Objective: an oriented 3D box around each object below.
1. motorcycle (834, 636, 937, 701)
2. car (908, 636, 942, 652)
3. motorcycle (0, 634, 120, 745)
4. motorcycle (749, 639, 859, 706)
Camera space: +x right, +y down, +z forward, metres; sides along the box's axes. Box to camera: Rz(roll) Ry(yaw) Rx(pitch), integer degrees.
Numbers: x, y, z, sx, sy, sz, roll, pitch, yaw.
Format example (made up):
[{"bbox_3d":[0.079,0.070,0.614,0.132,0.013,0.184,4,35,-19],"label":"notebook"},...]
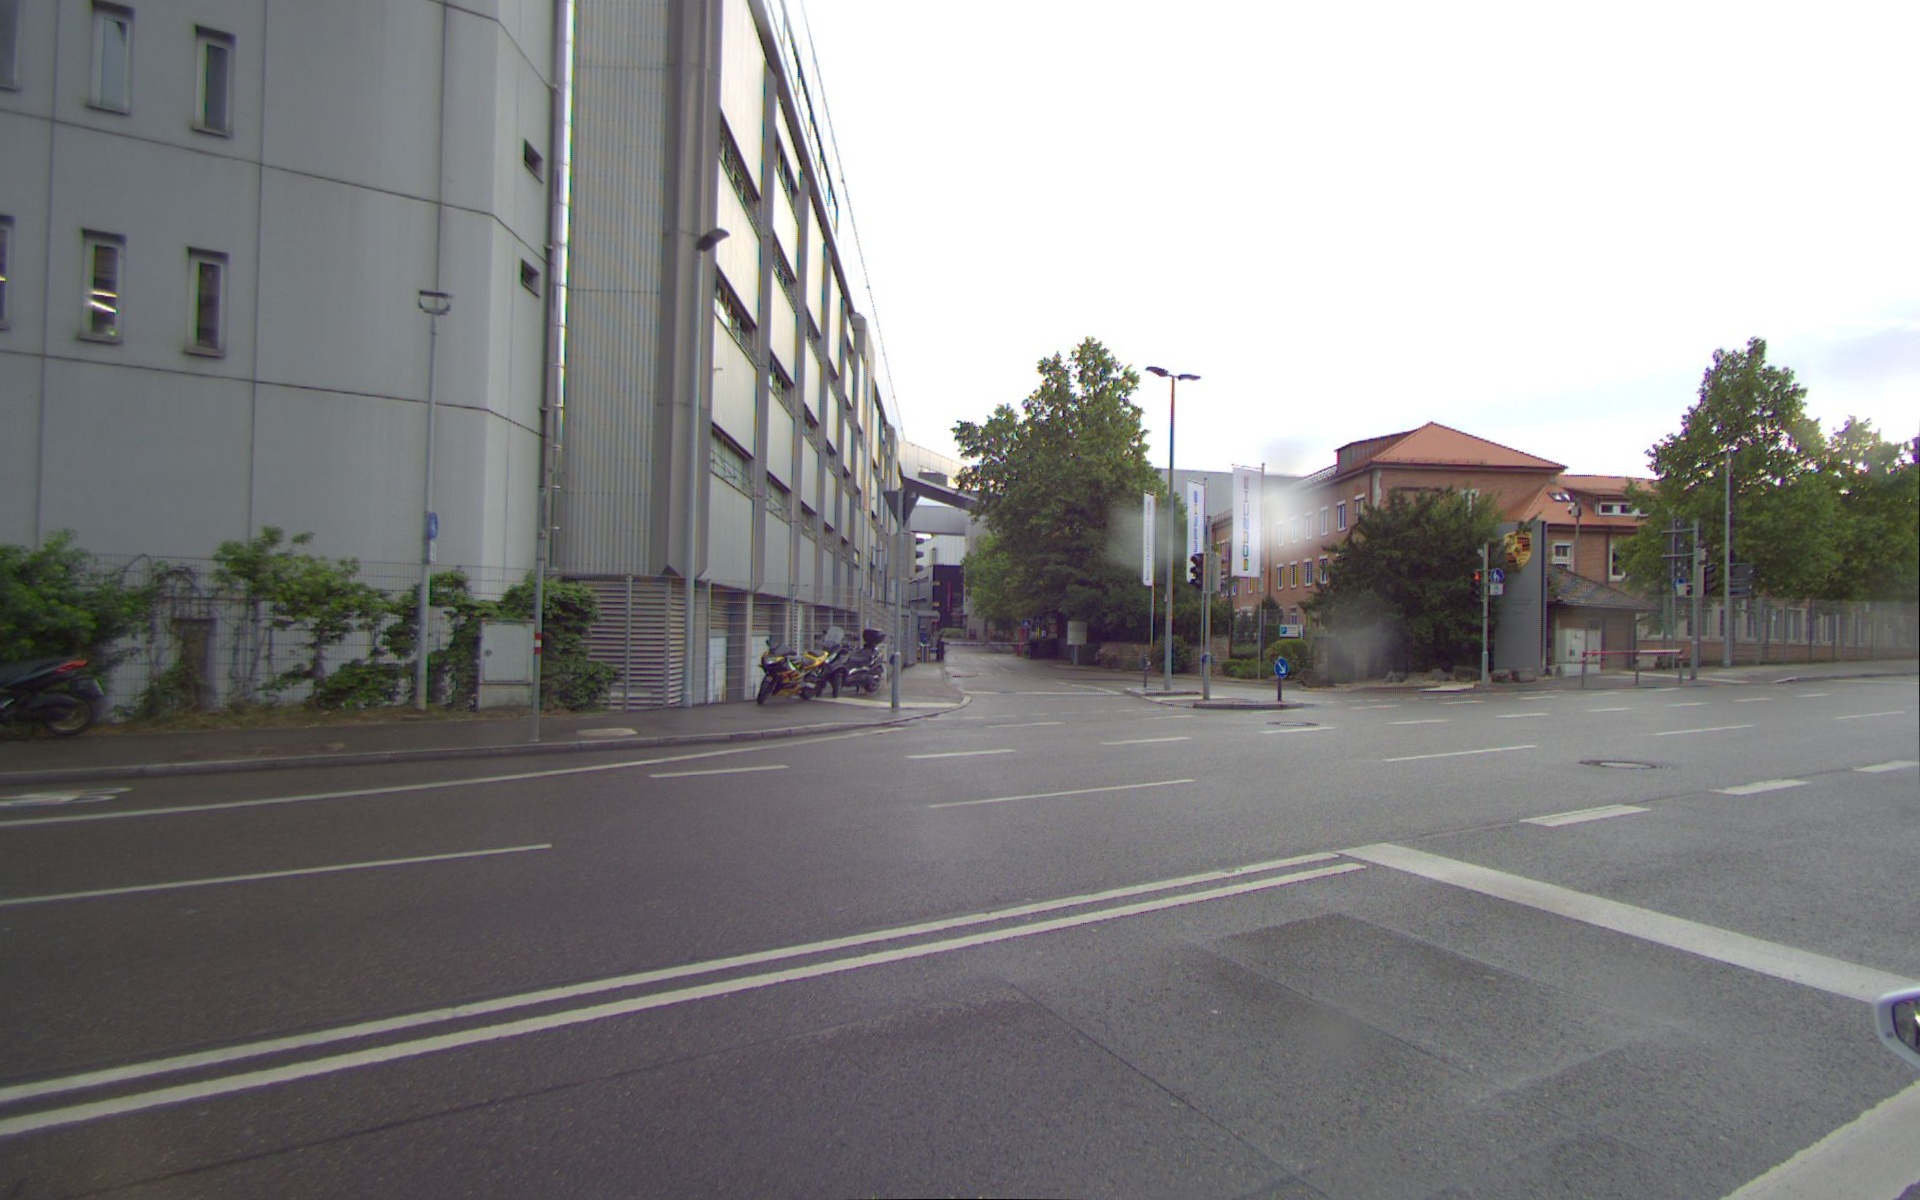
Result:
[{"bbox_3d":[-1.621,1.489,22.526,1.008,1.355,2.772,-1,-2,27],"label":"motorcycle"},{"bbox_3d":[-4.574,5.766,131.393,3.913,1.849,1.955,2,0,-31],"label":"car"},{"bbox_3d":[-11.365,1.040,11.826,2.133,1.263,0.780,2,-2,-32],"label":"motorcycle"},{"bbox_3d":[-3.074,1.401,20.090,0.759,1.234,2.504,0,-2,30],"label":"motorcycle"}]
